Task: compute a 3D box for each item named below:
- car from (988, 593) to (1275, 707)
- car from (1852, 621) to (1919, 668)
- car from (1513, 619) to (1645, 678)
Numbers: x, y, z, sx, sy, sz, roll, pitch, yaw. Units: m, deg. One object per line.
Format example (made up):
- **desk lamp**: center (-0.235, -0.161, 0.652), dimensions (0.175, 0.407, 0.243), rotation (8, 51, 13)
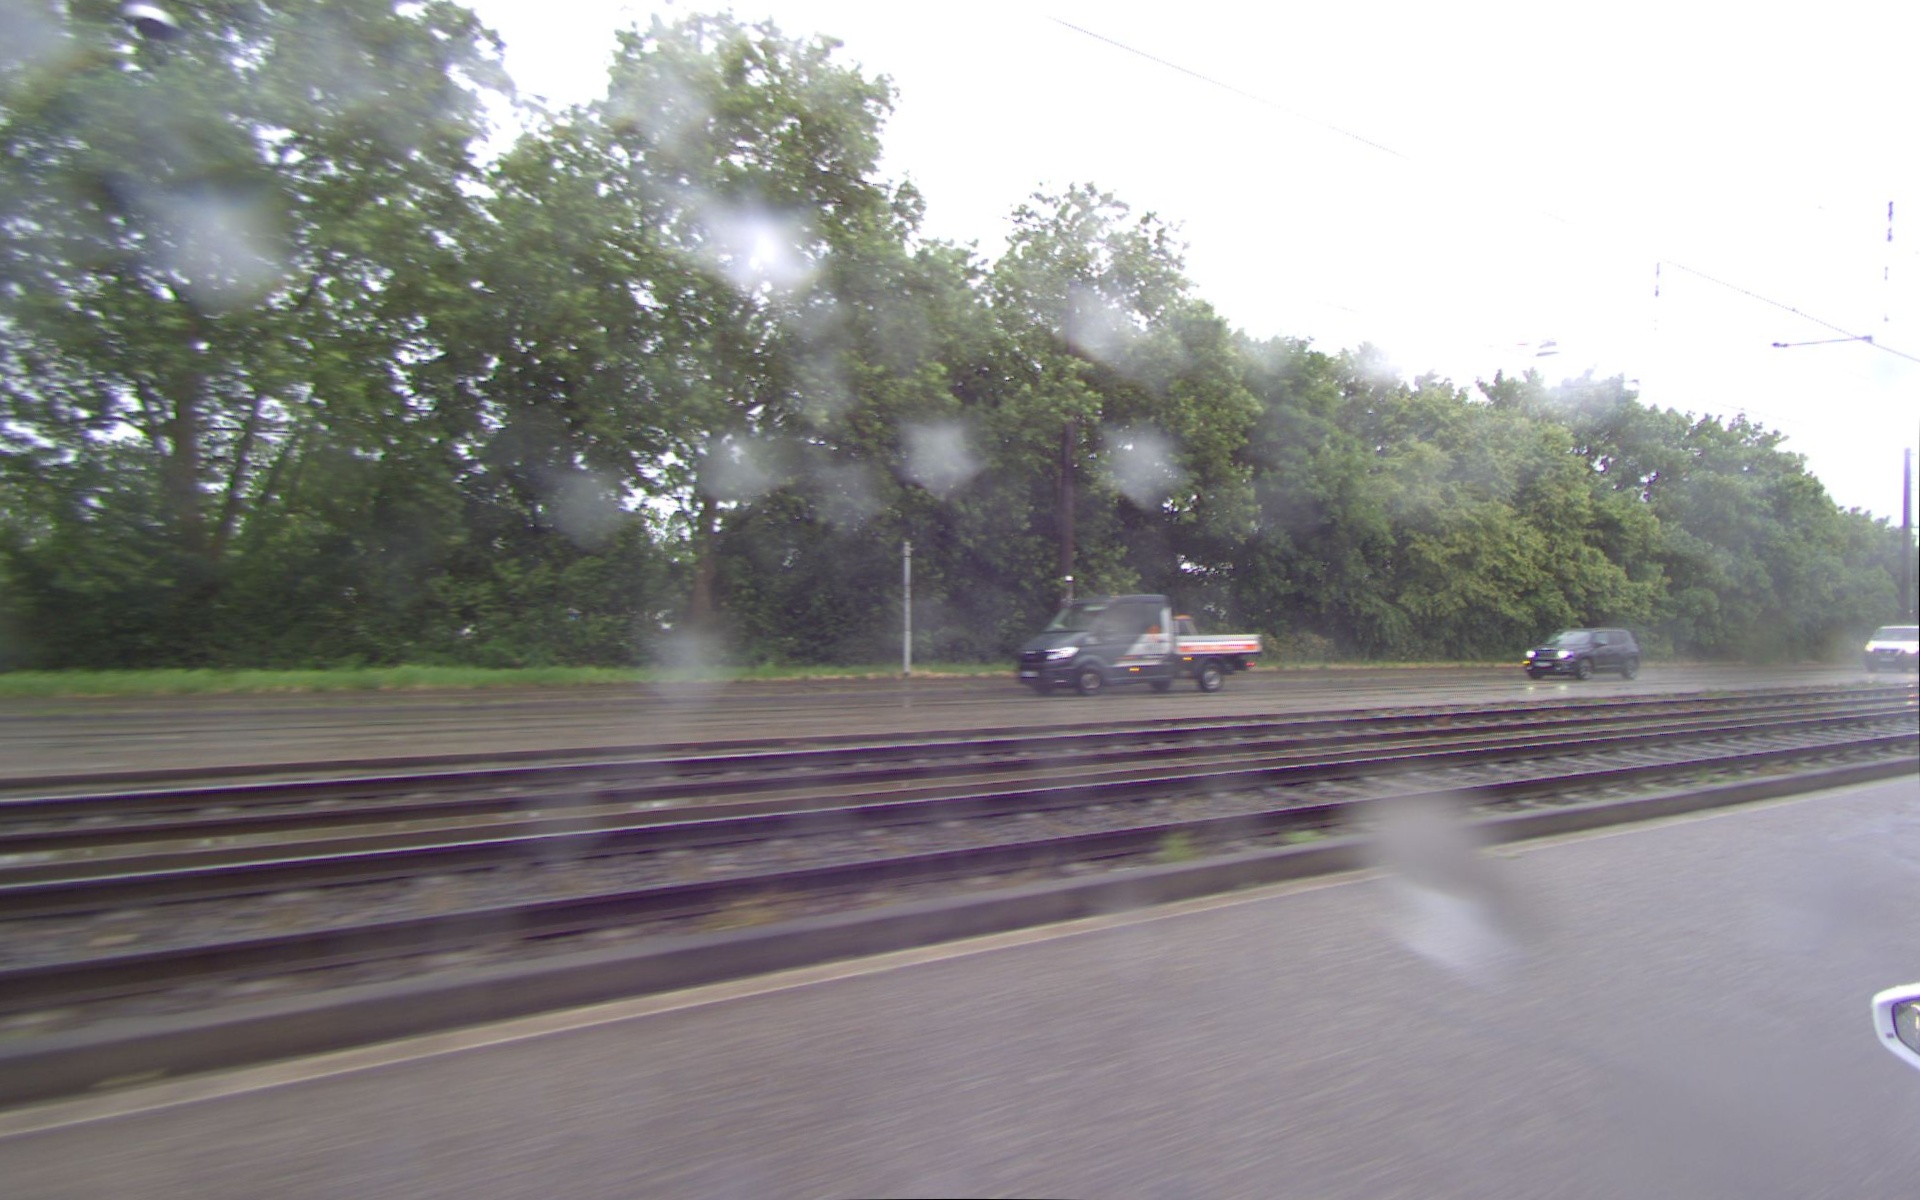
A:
- **car**: center (4.156, 1.056, 23.724), dimensions (6.904, 2.374, 2.090), rotation (0, 1, -29)
- **car**: center (40.610, 1.853, 43.056), dimensions (4.924, 1.799, 2.031), rotation (0, 1, -29)
- **car**: center (20.275, 1.539, 32.866), dimensions (4.109, 1.740, 1.834), rotation (0, 1, -27)
